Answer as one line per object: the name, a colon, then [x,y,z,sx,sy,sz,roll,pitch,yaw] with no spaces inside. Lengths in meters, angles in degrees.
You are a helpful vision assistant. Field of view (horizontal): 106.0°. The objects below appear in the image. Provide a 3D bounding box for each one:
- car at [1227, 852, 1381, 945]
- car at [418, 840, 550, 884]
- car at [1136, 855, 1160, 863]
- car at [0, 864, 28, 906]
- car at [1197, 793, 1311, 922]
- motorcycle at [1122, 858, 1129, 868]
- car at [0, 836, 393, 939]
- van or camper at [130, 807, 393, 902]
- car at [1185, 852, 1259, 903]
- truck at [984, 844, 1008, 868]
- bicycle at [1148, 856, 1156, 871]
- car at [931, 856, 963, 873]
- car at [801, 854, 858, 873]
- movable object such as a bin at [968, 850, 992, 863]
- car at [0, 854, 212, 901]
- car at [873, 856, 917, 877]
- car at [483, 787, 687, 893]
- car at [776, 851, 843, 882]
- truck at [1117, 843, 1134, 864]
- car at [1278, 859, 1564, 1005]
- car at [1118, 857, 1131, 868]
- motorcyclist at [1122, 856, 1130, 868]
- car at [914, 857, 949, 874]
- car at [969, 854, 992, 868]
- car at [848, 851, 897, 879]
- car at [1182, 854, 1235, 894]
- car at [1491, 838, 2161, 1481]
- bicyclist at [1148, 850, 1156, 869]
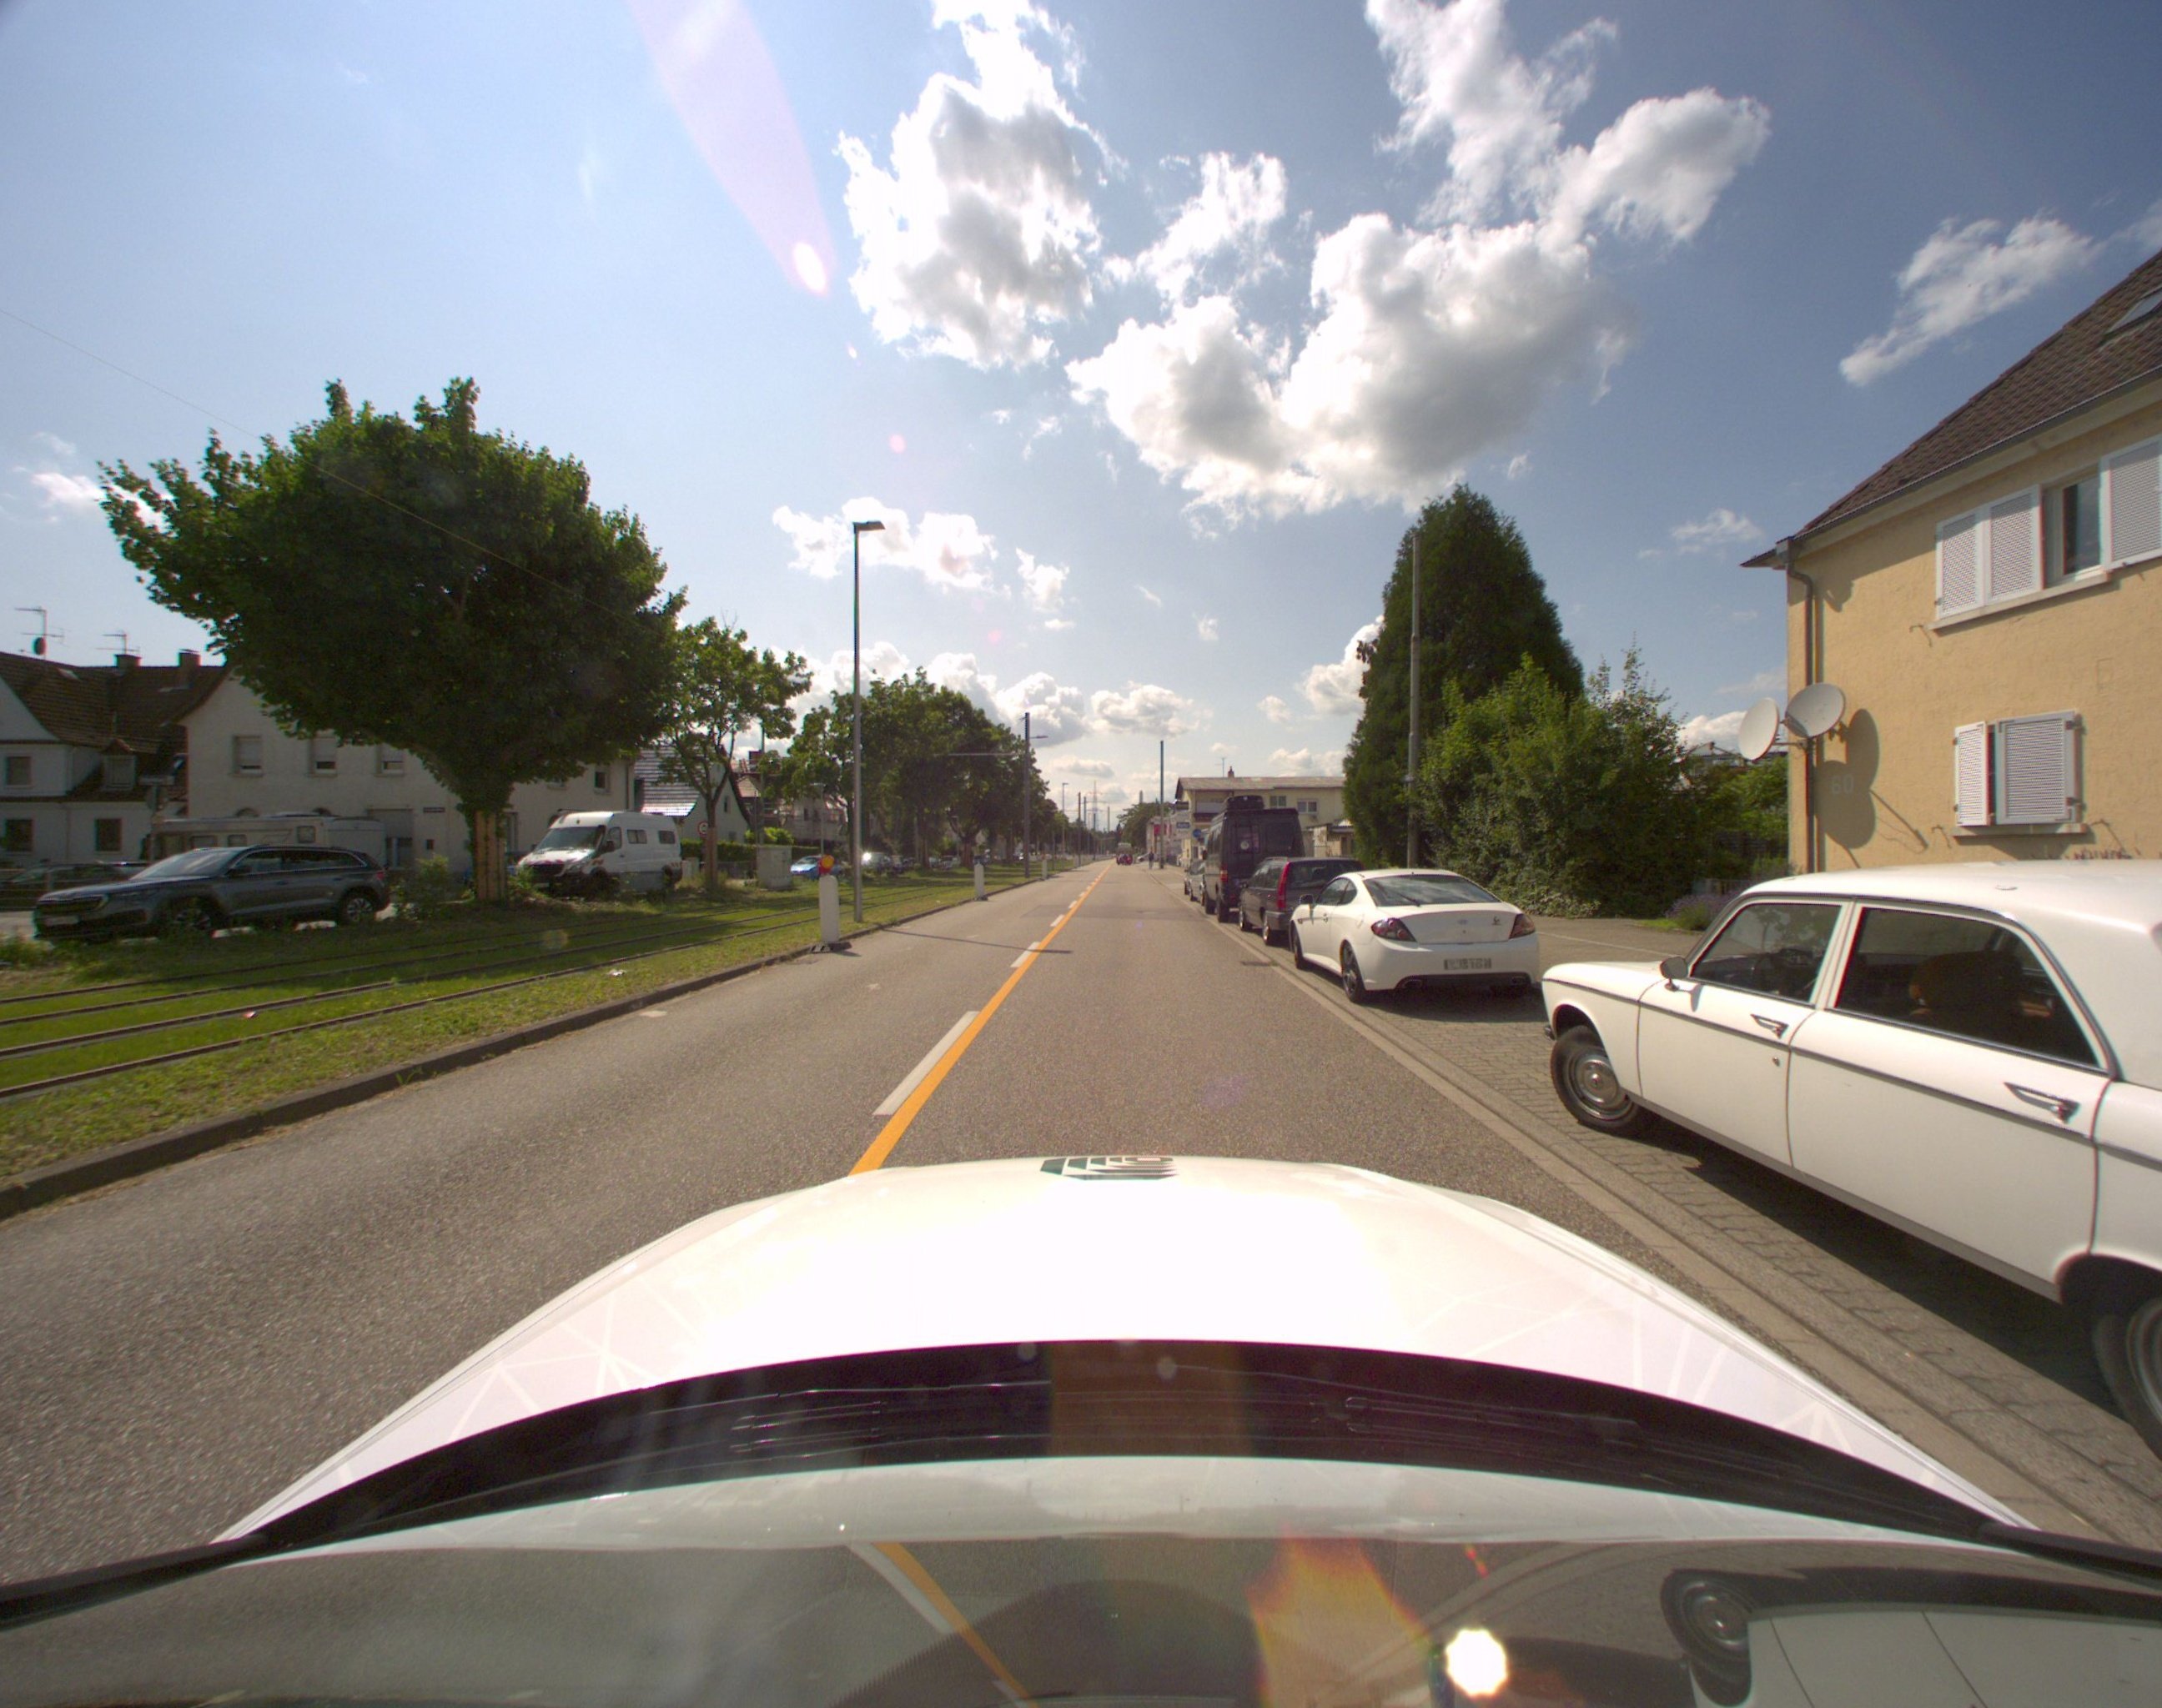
car: [3.851,0.705,14.890,1.714,1.402,4.840,-1,-1,3]
car: [-22.616,0.323,31.054,1.895,1.577,4.003,0,-1,3]
car: [12.408,0.934,150.821,4.324,1.552,1.946,0,-1,-6]
car: [-31.219,0.831,21.640,3.971,1.134,2.001,0,-1,2]
car: [4.092,0.098,20.116,1.987,2.761,4.882,-1,-1,3]
motorcycle: [6.008,1.231,109.472,0.935,1.320,2.647,3,-1,3]
car: [-14.937,0.524,14.133,1.985,1.506,4.489,0,-1,3]
van or camper: [-28.845,0.019,28.866,6.701,3.222,2.636,0,0,2]
car: [4.460,0.738,26.313,1.685,1.516,4.356,0,-1,1]
truck: [-10.607,0.262,101.973,1.985,2.768,6.281,-2,0,3]
bicycle: [6.560,0.858,75.521,0.690,1.361,2.420,0,0,3]
car: [-12.025,0.970,73.469,1.797,1.482,4.943,0,-1,3]
car: [-20.798,0.800,67.450,3.971,1.401,1.983,1,-1,2]
movable object such as a bin: [-19.257,0.434,155.786,4.349,2.449,1.777,0,0,-19]
car: [-25.975,0.603,21.468,3.971,1.161,2.047,0,-1,2]
car: [-13.098,0.890,57.641,1.985,1.439,4.002,-1,-1,2]
car: [-14.360,-0.353,24.238,1.986,2.730,6.463,0,0,1]
car: [-13.553,0.628,40.910,1.746,1.436,3.894,0,-1,5]
truck: [7.095,-0.150,130.277,2.599,3.255,9.191,0,1,4]
car: [3.569,0.724,9.431,1.714,1.295,4.131,-1,-1,2]
car: [6.076,1.200,113.951,1.814,1.424,4.003,1,0,3]
motorcyclist: [6.008,1.076,109.293,0.935,1.615,1.205,3,-1,3]
car: [-12.448,0.962,67.823,1.985,1.318,3.855,-2,-1,3]
car: [-11.166,0.813,90.957,1.986,1.453,4.000,0,-1,1]
car: [-13.021,0.683,51.190,1.987,1.691,4.390,0,-1,0]
car: [4.795,0.744,31.004,1.644,1.431,4.100,0,-1,4]
car: [3.282,0.675,3.072,1.642,1.418,4.029,-1,-1,4]
bicyclist: [6.579,0.515,75.576,0.668,1.744,0.814,1,-1,2]
